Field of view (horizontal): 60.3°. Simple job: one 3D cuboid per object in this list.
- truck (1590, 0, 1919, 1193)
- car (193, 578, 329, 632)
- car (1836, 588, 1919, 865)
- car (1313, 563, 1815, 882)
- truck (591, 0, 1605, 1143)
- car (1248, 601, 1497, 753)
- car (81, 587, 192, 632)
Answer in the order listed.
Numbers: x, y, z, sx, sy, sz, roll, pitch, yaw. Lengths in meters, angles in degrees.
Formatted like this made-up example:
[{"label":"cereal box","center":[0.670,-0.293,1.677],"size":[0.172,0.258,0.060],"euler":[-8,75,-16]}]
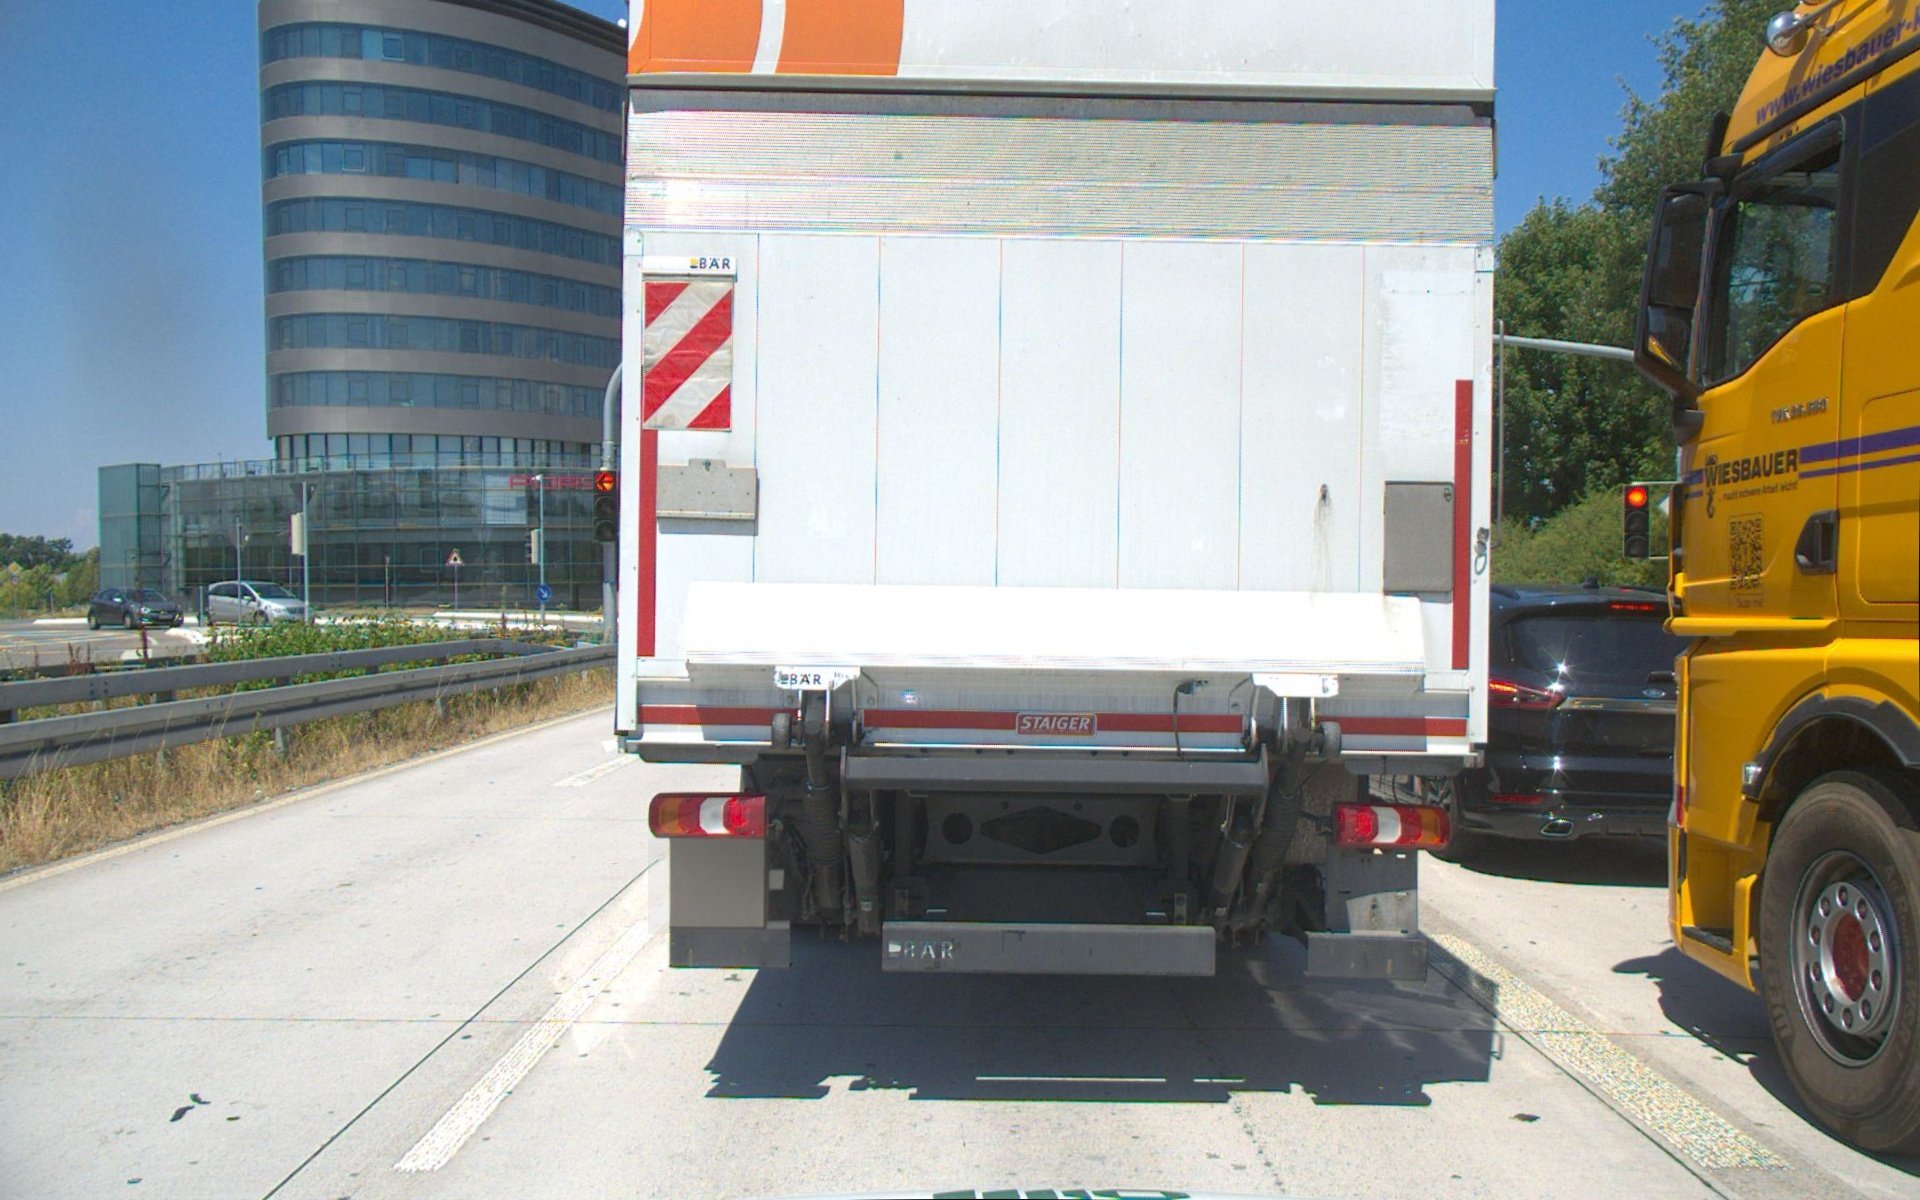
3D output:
[{"label":"truck","center":[3.963,-0.414,2.461],"size":[2.953,3.838,7.466],"euler":[1,0,-2]},{"label":"car","center":[-22.644,0.198,53.567],"size":[4.231,1.623,1.775],"euler":[-1,-2,27]},{"label":"car","center":[7.344,0.850,9.580],"size":[1.733,1.839,4.788],"euler":[1,0,-4]},{"label":"car","center":[3.711,0.661,11.124],"size":[1.747,1.668,4.648],"euler":[1,0,1]},{"label":"truck","center":[0.327,-0.489,9.175],"size":[2.713,3.927,9.368],"euler":[1,0,-1]},{"label":"car","center":[4.388,0.752,18.304],"size":[1.731,1.435,4.611],"euler":[1,0,2]},{"label":"car","center":[-28.818,0.356,57.847],"size":[4.241,1.482,1.691],"euler":[-2,-2,35]}]
